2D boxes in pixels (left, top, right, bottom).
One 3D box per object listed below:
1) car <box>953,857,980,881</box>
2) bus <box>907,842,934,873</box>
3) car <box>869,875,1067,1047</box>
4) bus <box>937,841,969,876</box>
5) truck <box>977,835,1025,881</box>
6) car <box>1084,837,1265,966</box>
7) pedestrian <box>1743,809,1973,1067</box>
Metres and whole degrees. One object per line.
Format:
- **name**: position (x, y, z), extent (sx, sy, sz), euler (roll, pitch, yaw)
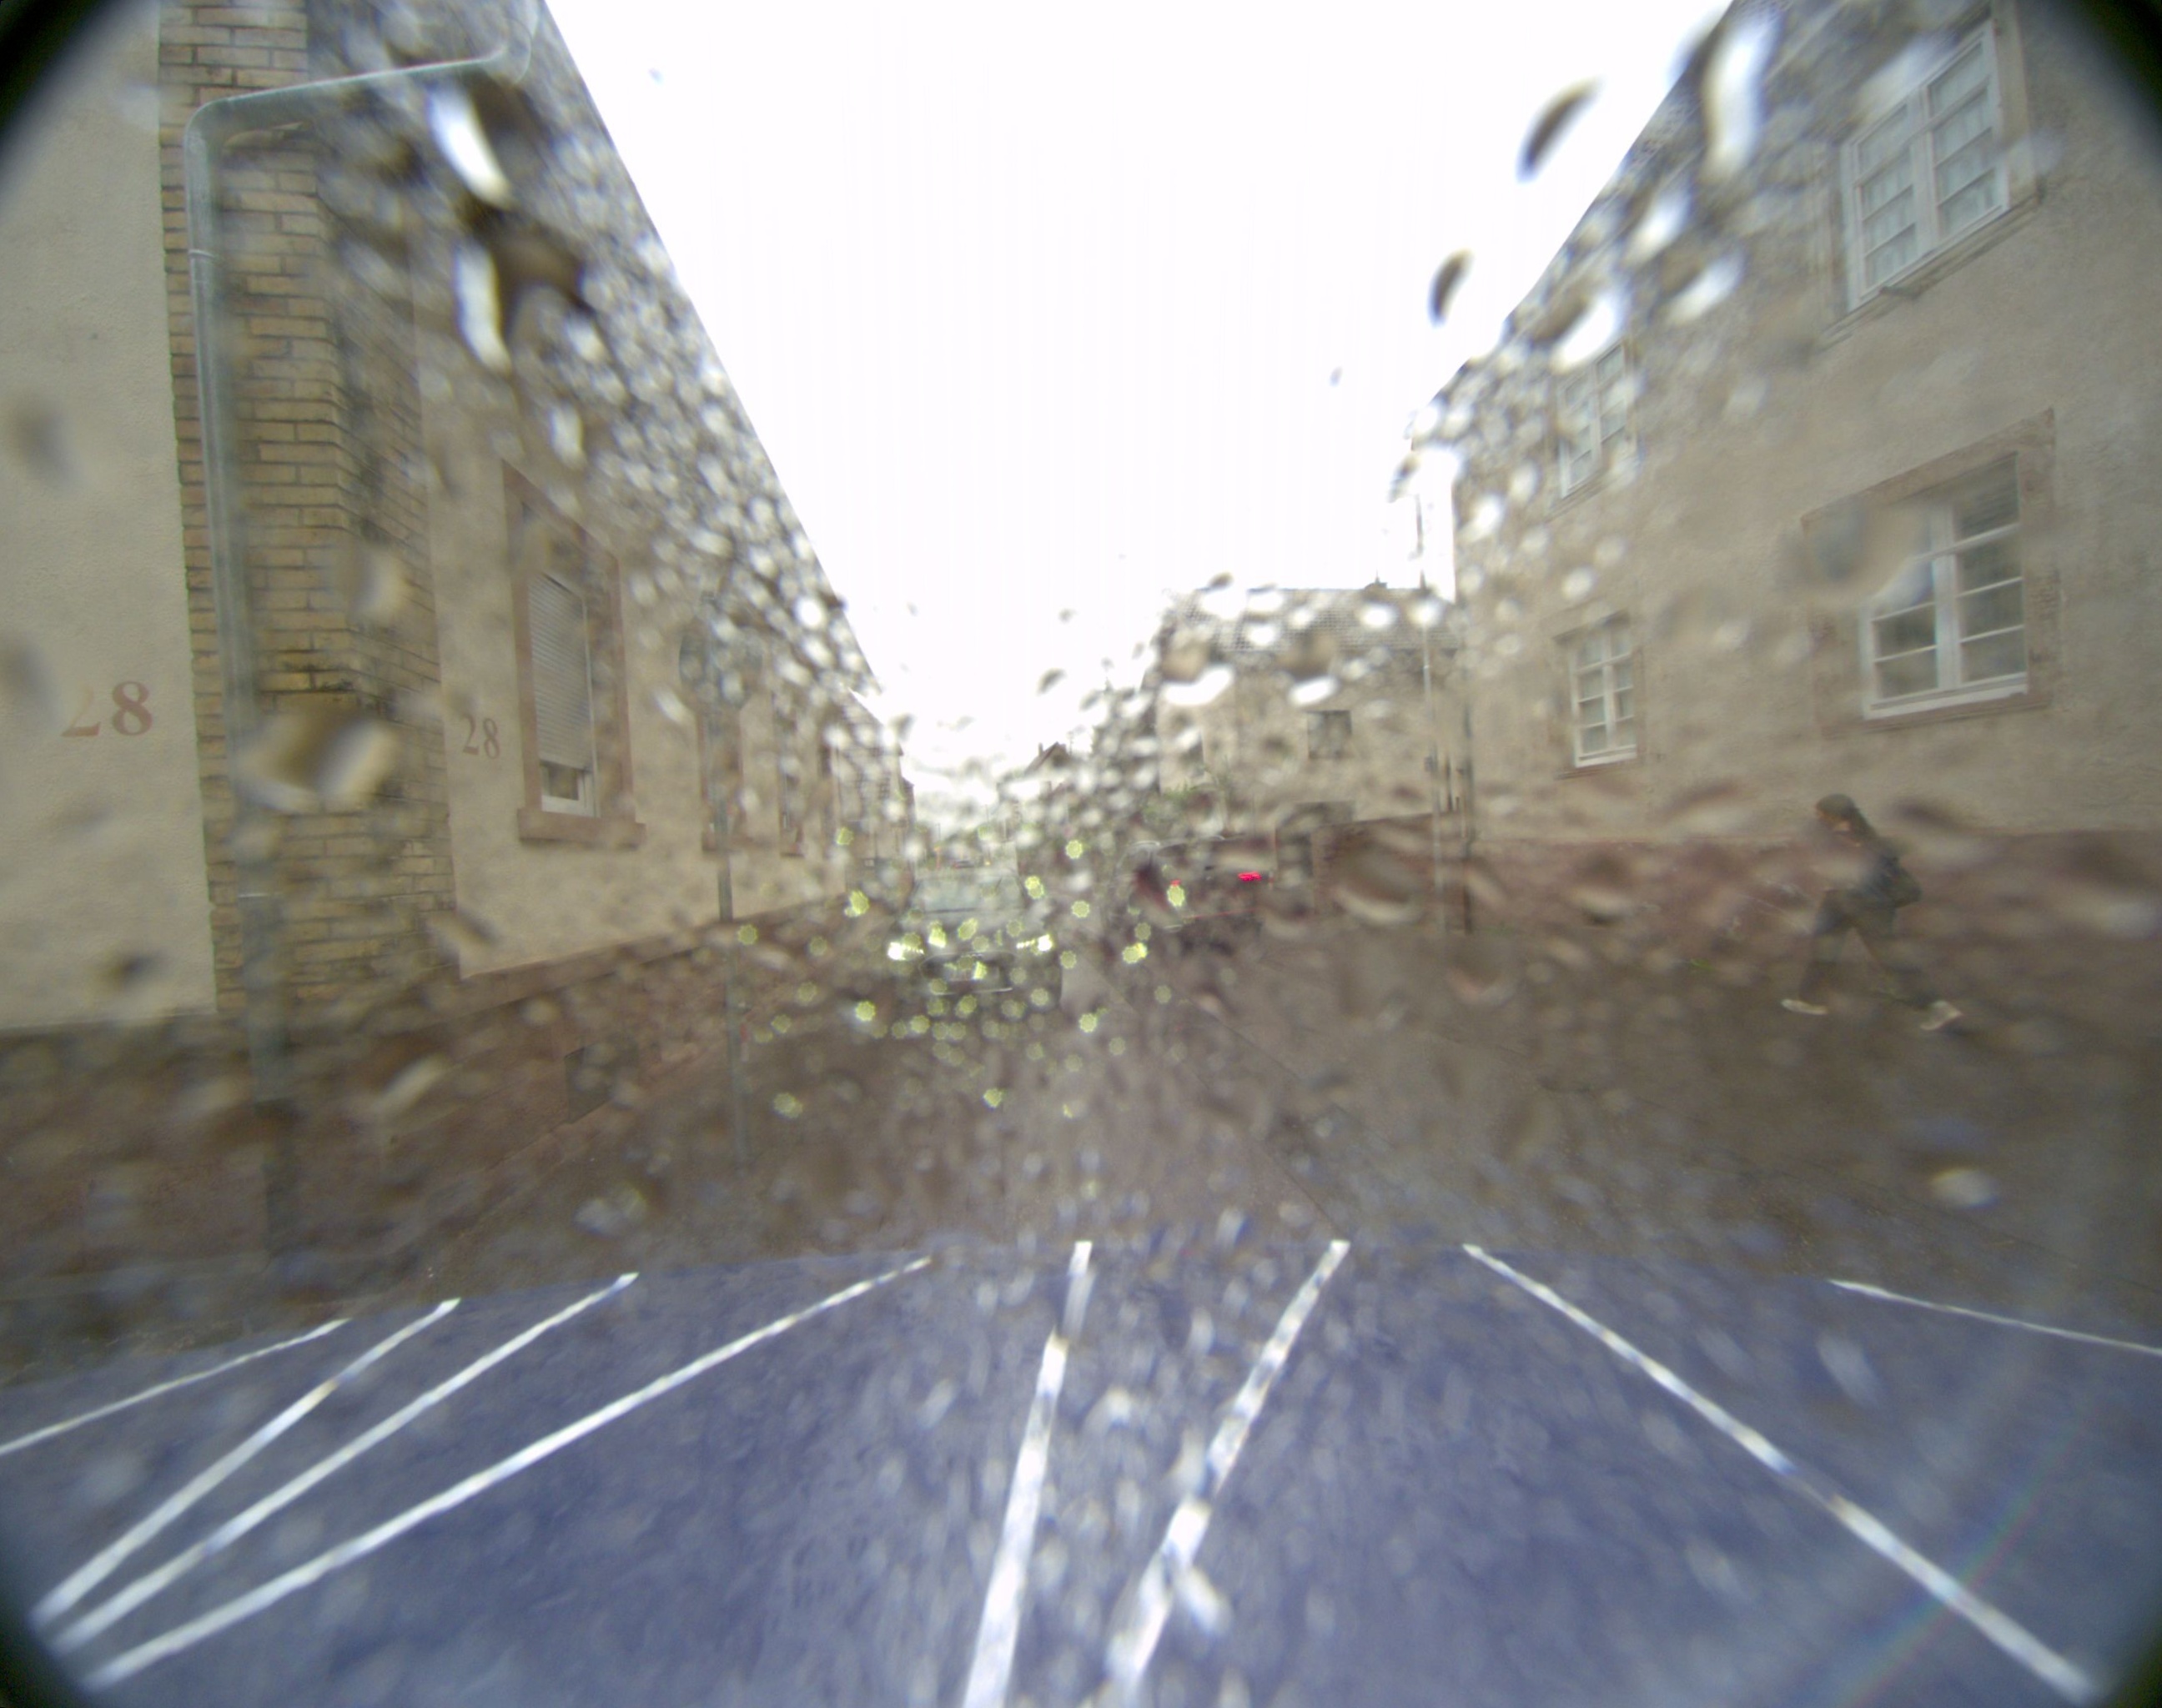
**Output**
- **car**: position (-9.440, 1.204, 62.609), extent (1.804, 1.805, 3.995), euler (-2, 1, -14)
- **bus**: position (-18.080, 0.342, 85.667), extent (2.670, 3.213, 12.178), euler (-2, 1, -12)
- **car**: position (-1.334, 1.018, 8.975), extent (1.740, 1.363, 4.098), euler (-2, 0, -9)
- **bus**: position (-13.520, 0.421, 79.266), extent (2.670, 3.213, 12.178), euler (-2, 1, -12)
- **truck**: position (-4.850, 0.222, 45.269), extent (2.001, 2.490, 5.643), euler (-2, 1, -14)
- **car**: position (1.328, 0.620, 12.730), extent (1.786, 1.655, 4.422), euler (-5, 2, -8)
- **pedestrian**: position (5.153, 0.513, 5.086), extent (0.574, 1.529, 0.832), euler (-5, 1, -12)
